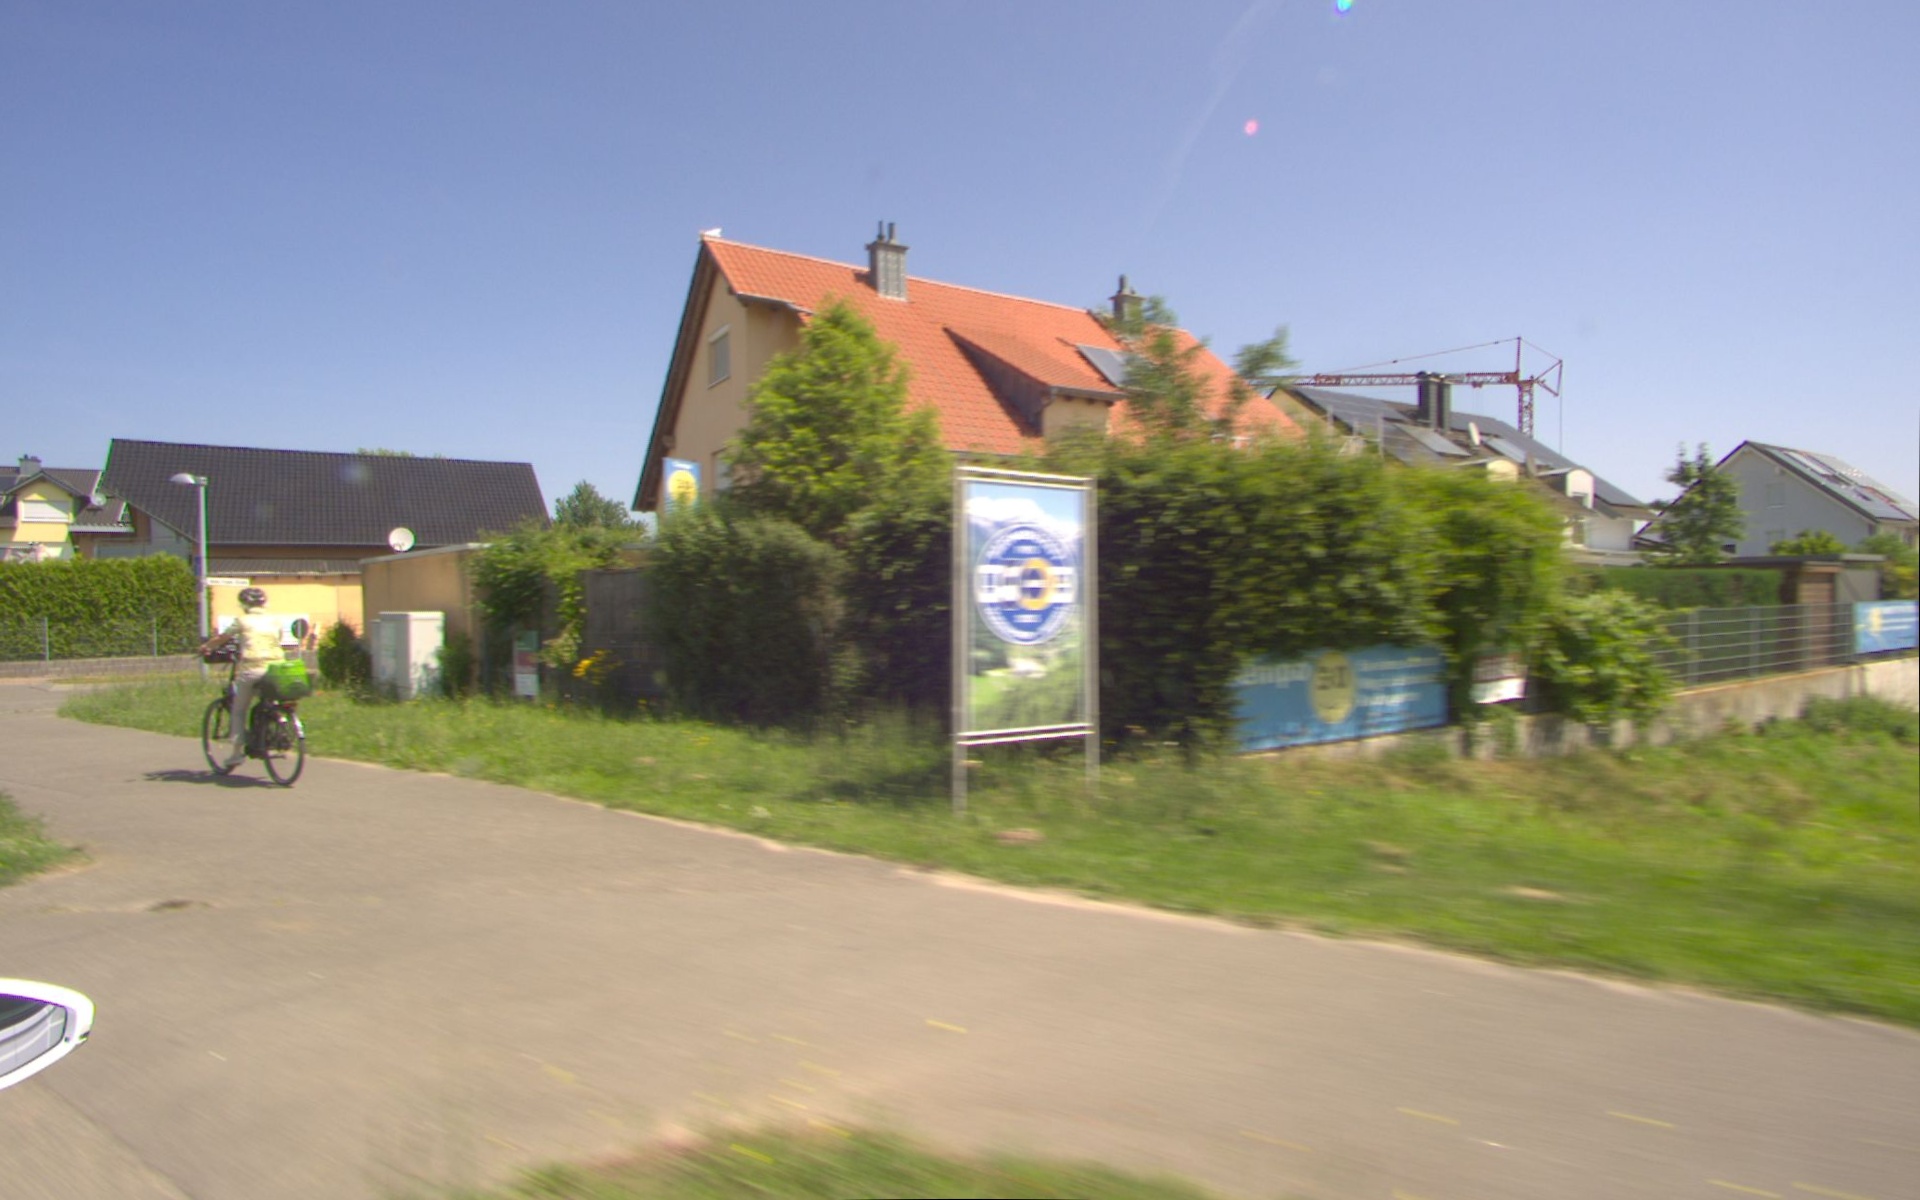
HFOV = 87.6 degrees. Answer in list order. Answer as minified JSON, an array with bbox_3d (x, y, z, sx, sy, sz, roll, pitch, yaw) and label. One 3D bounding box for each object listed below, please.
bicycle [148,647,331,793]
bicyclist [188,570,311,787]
[{"bbox_3d":[-6.836,1.072,9.461,2.241,1.174,0.609,0,-1,33],"label":"bicycle"},{"bbox_3d":[-6.624,0.696,9.336,0.848,1.914,0.644,1,0,32],"label":"bicyclist"}]
